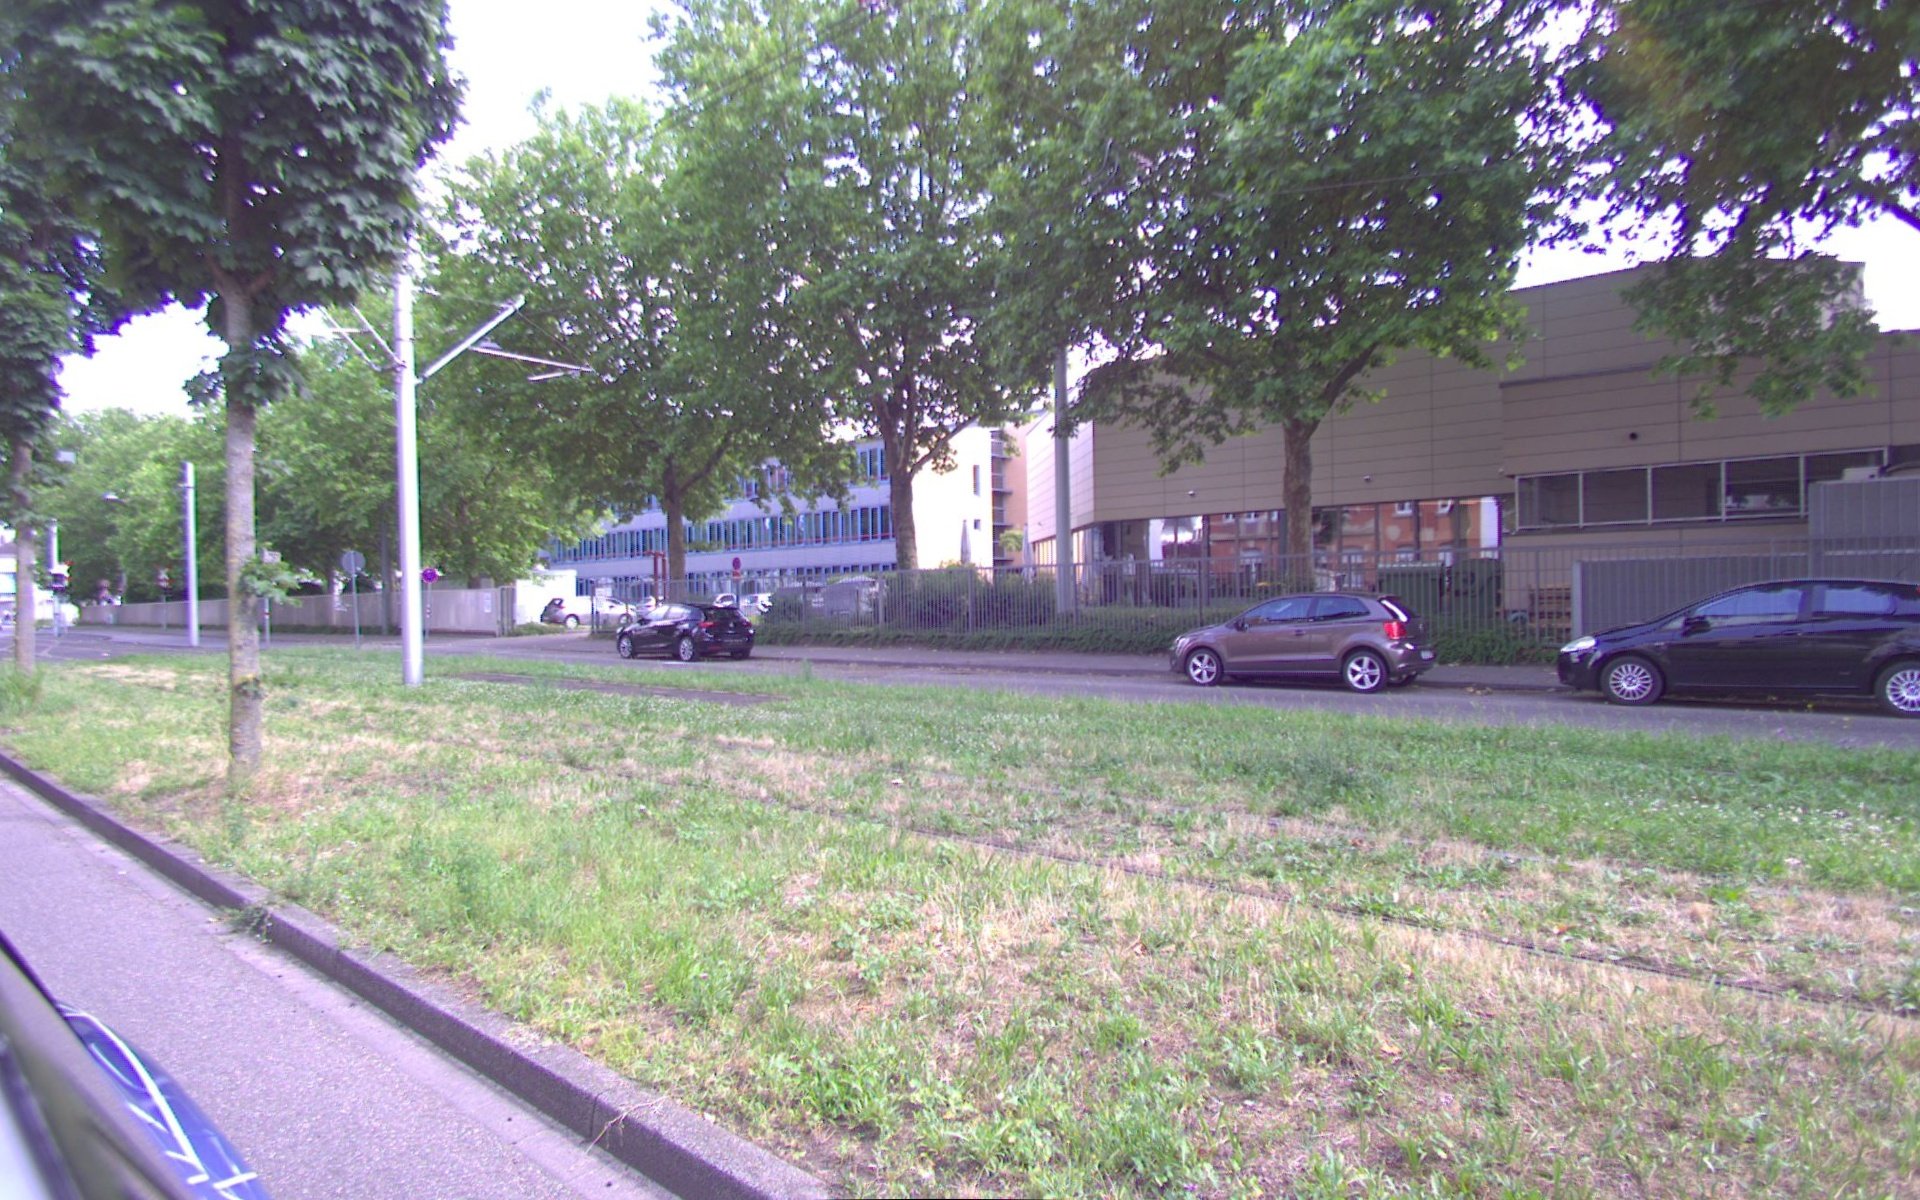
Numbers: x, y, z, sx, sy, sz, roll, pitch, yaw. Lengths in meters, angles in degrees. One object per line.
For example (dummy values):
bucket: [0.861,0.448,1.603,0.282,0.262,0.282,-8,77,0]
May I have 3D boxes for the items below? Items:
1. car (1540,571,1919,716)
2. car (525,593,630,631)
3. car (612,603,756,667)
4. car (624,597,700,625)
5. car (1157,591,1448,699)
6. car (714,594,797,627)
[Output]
car: [9.265,0.443,11.844,4.000,1.464,1.783,-1,0,43]
car: [-16.993,0.521,45.060,1.998,1.630,3.948,-1,0,39]
car: [-7.025,0.845,25.540,3.999,1.475,1.580,-1,0,42]
car: [-17.816,0.647,60.620,1.998,1.630,3.948,-1,0,39]
car: [5.118,0.627,15.422,3.899,1.436,1.538,-1,0,40]
car: [-10.756,0.534,53.501,1.998,1.630,3.948,-1,0,39]
